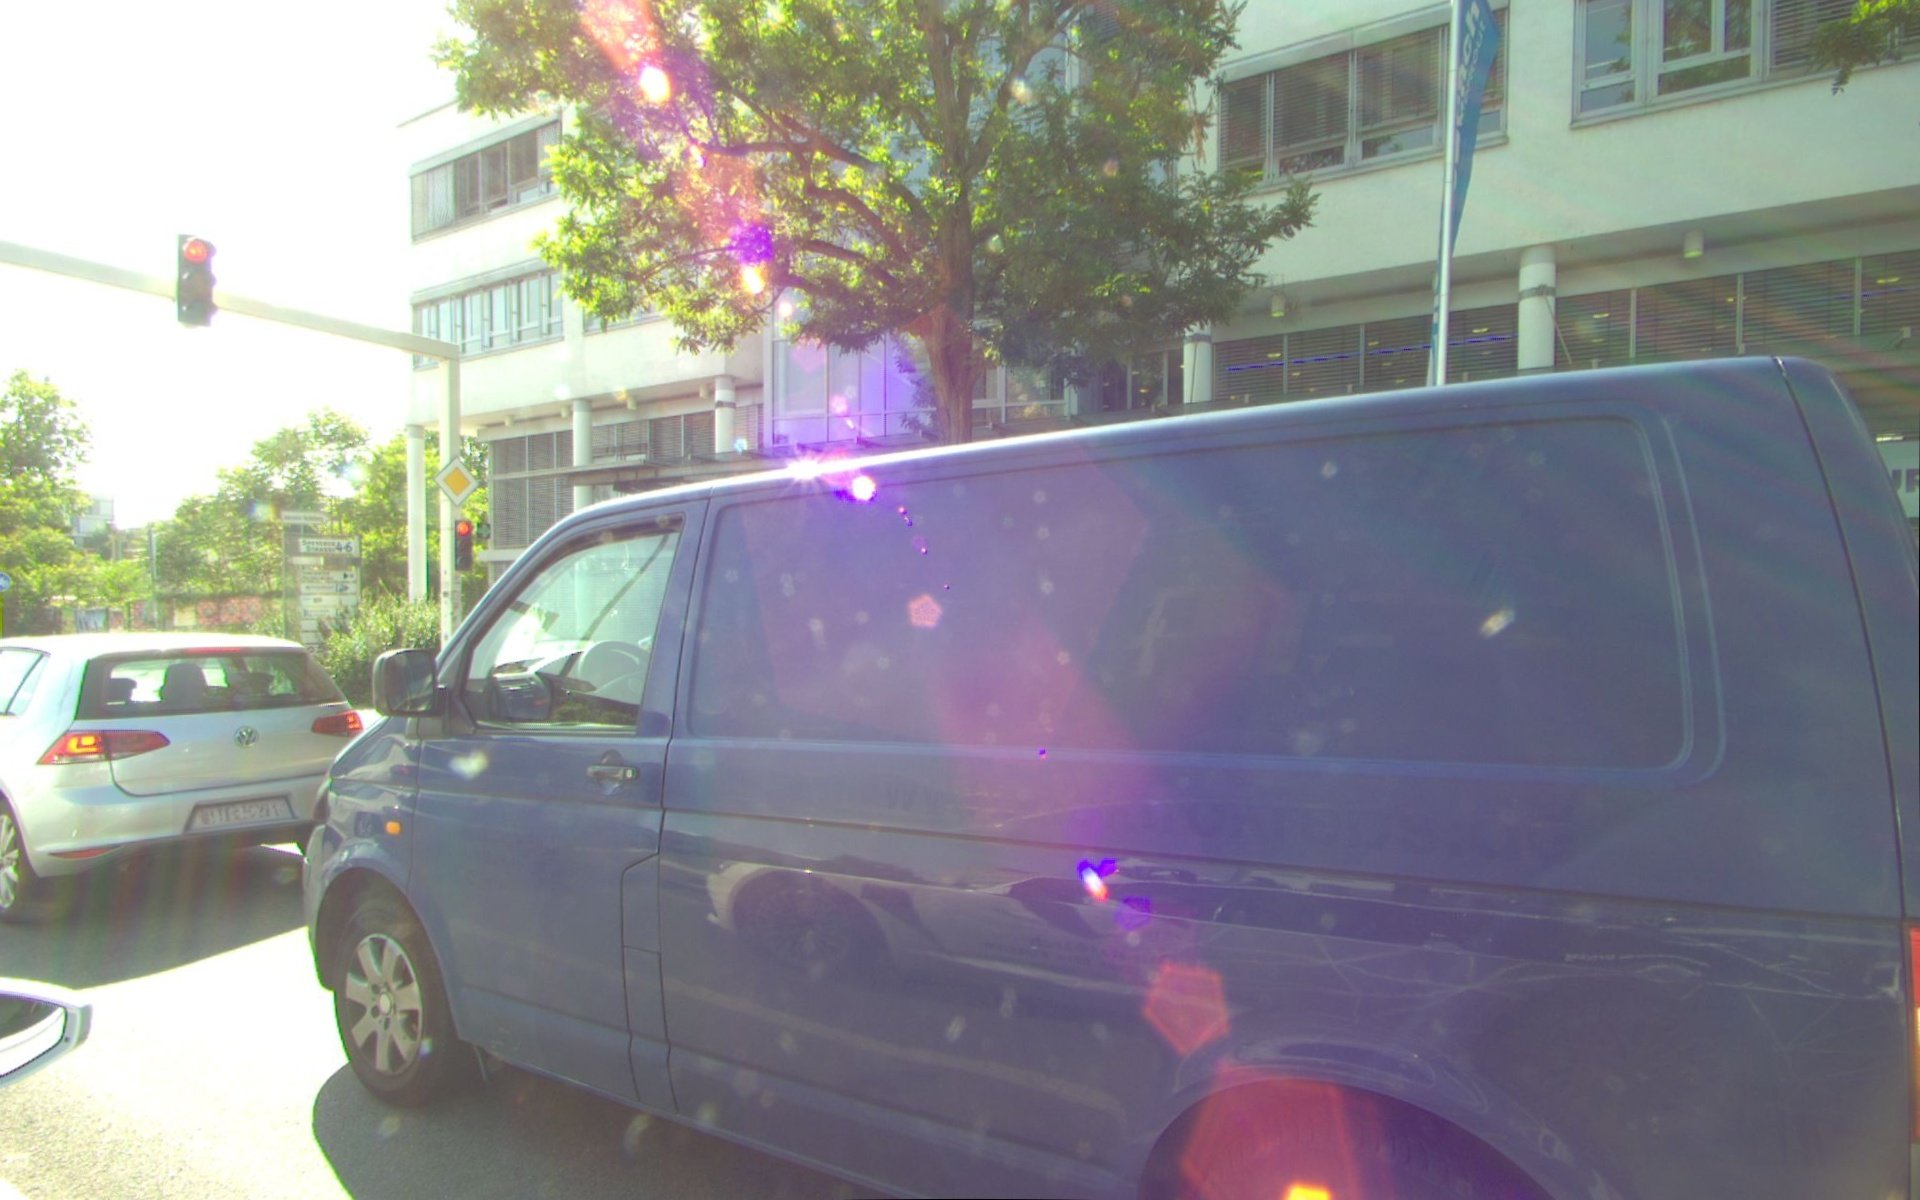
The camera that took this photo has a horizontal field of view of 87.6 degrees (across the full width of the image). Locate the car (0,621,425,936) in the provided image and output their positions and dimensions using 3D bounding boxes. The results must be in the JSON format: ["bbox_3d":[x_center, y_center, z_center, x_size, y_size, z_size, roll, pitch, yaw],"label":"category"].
[{"bbox_3d":[-5.497,0.896,6.460,3.940,1.448,1.805,-1,-1,30],"label":"car"}]

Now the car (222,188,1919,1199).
[{"bbox_3d":[-0.070,0.548,3.144,4.821,1.973,1.989,-1,-1,32],"label":"car"}]

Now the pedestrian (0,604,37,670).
[{"bbox_3d":[-30.003,1.160,31.598,1.023,2.040,1.025,0,0,32],"label":"pedestrian"}]
